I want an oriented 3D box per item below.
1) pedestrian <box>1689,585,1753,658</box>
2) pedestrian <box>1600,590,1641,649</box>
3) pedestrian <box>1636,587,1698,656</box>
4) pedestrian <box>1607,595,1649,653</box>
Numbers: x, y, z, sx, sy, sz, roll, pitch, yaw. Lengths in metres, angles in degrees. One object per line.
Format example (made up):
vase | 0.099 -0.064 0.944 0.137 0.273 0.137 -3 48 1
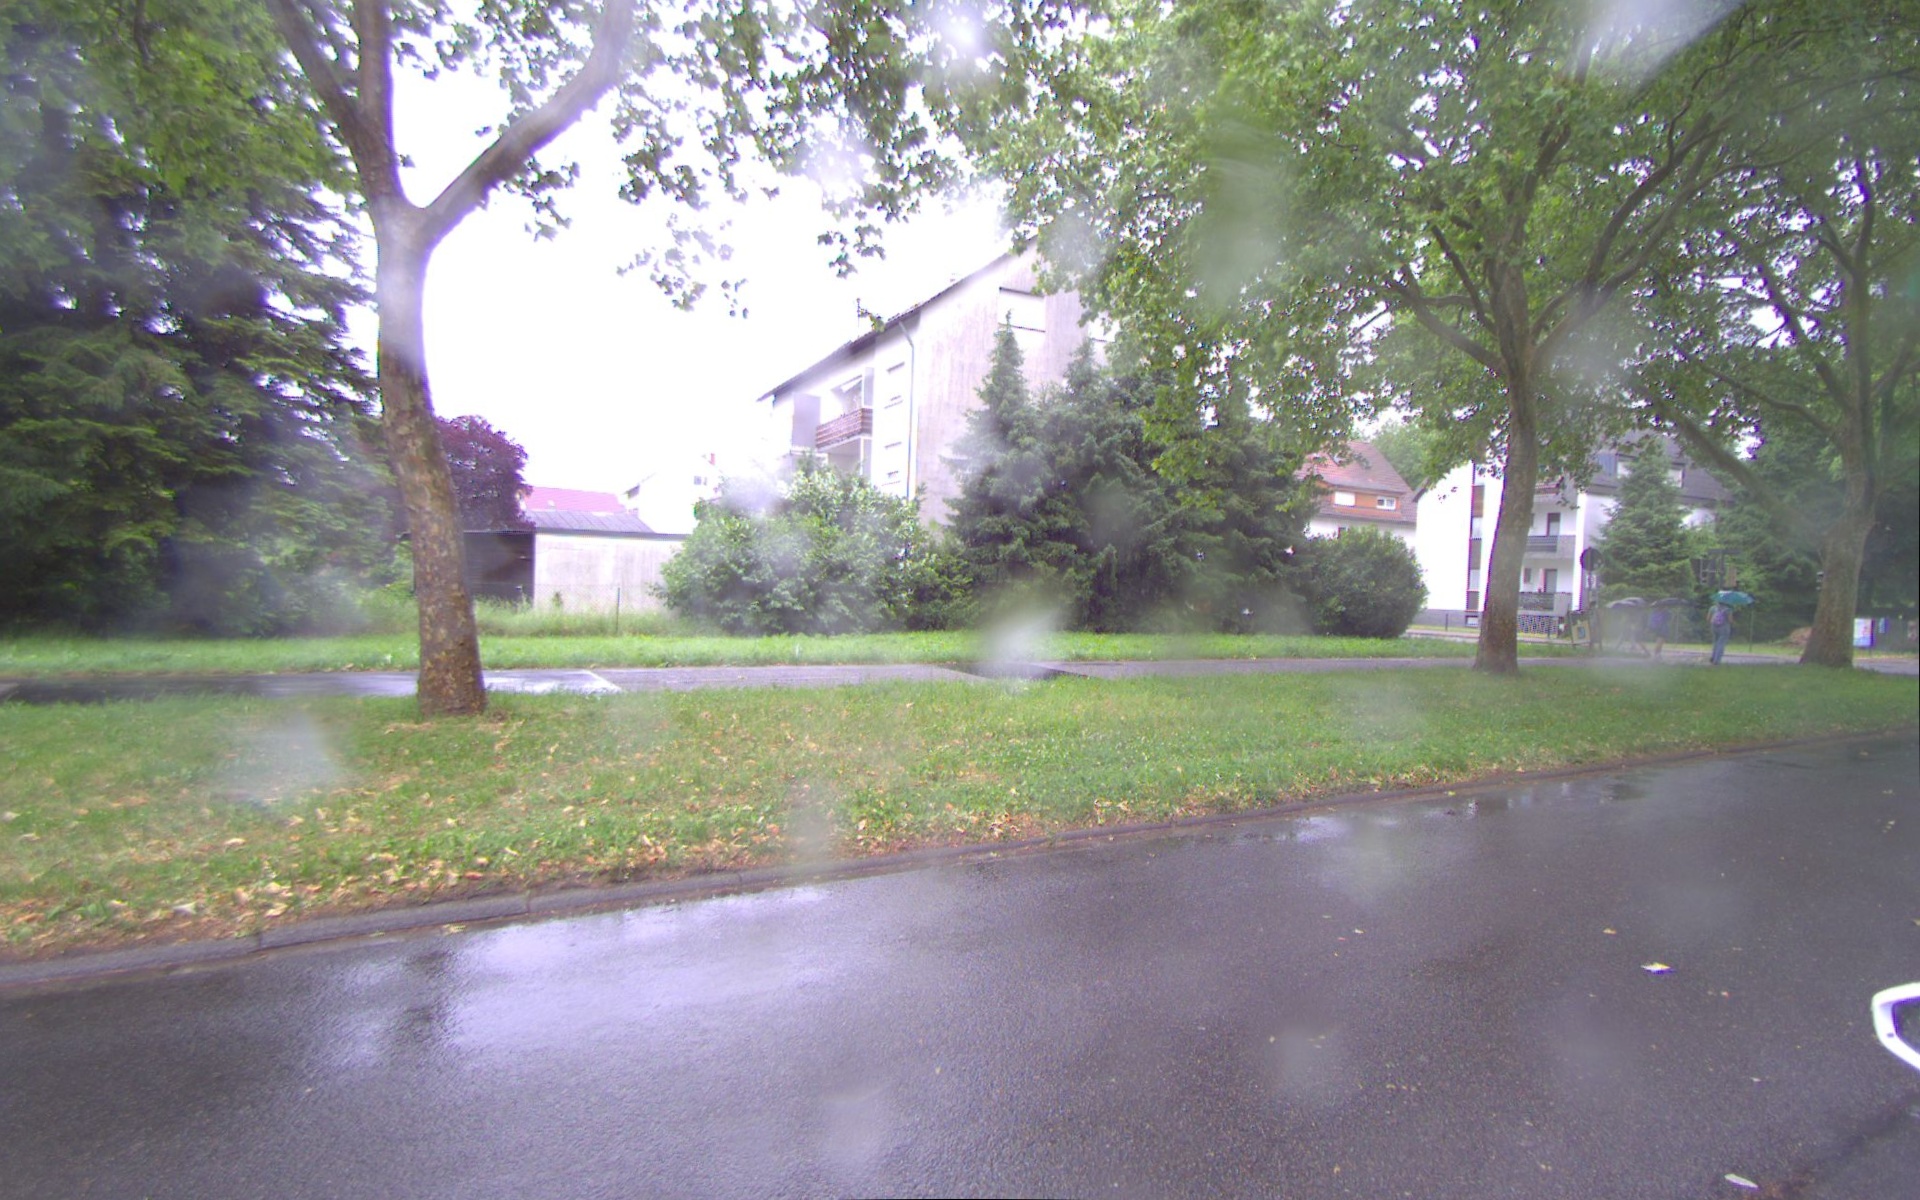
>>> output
pedestrian | 19.238 0.537 25.405 0.828 1.789 1.028 1 1 -30
pedestrian | 20.318 0.584 30.915 0.633 1.768 0.815 1 1 -33
pedestrian | 18.684 0.554 26.558 0.869 1.789 1.028 1 1 -30
pedestrian | 21.007 0.744 31.597 0.633 1.768 0.854 1 1 -33
